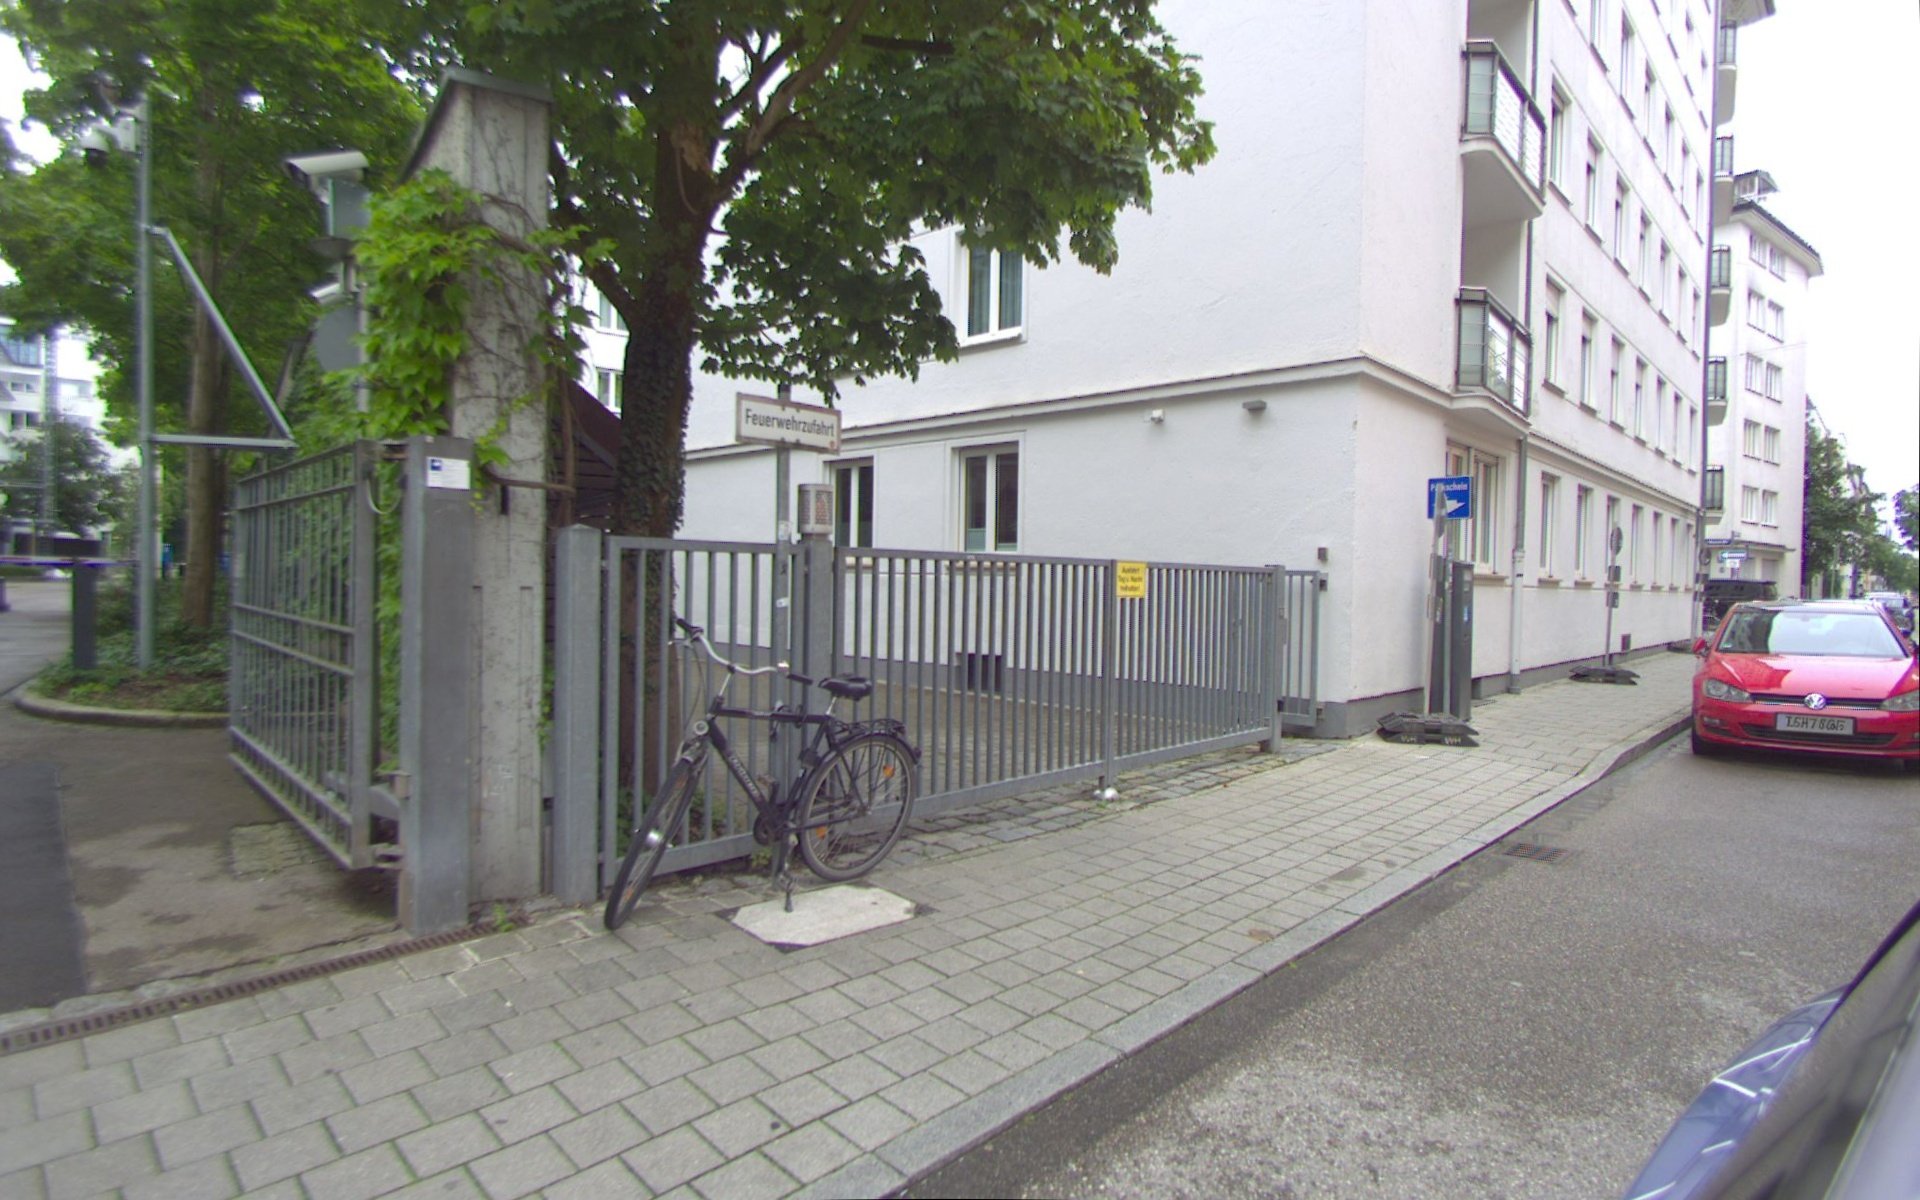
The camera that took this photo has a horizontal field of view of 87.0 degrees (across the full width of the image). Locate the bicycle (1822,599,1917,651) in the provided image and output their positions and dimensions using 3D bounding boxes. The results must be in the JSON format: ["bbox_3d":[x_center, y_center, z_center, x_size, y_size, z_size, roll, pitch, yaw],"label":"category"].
[{"bbox_3d":[22.182,0.603,24.722,1.695,1.175,0.309,2,2,44],"label":"bicycle"}]

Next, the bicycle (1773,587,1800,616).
[{"bbox_3d":[35.024,0.060,42.863,1.580,1.229,0.529,0,2,-39],"label":"bicycle"}]

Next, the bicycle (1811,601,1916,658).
[{"bbox_3d":[19.285,0.612,21.641,0.317,1.056,1.593,0,4,-37],"label":"bicycle"}]

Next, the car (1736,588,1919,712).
[{"bbox_3d":[12.201,0.572,13.993,1.795,1.457,4.312,0,0,45],"label":"car"}]

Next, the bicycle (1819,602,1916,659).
[{"bbox_3d":[19.101,0.619,21.322,0.324,1.056,1.440,0,4,-37],"label":"bicycle"}]

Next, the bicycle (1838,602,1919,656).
[{"bbox_3d":[20.135,0.623,22.031,0.353,1.056,1.443,0,4,-37],"label":"bicycle"}]

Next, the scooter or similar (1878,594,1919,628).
[{"bbox_3d":[34.953,0.398,37.517,0.339,1.229,1.339,0,2,-43],"label":"scooter or similar"}]

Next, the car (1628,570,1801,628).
[{"bbox_3d":[27.330,-0.078,36.797,1.898,1.914,4.681,1,1,-37],"label":"car"}]

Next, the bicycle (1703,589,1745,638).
[{"bbox_3d":[20.737,0.343,27.487,0.394,1.219,1.497,3,3,19],"label":"bicycle"}]

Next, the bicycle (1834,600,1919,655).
[{"bbox_3d":[21.225,0.622,23.264,1.695,1.175,0.372,2,2,44],"label":"bicycle"}]

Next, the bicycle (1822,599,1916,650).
[{"bbox_3d":[22.399,0.579,24.964,1.695,1.175,0.309,2,2,44],"label":"bicycle"}]

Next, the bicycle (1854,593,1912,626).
[{"bbox_3d":[36.262,0.345,39.766,0.520,1.229,1.606,0,2,-43],"label":"bicycle"}]

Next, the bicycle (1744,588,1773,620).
[{"bbox_3d":[31.876,0.159,40.409,1.580,1.229,0.529,0,2,-39],"label":"bicycle"}]

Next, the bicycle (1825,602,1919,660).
[{"bbox_3d":[18.962,0.635,20.814,0.354,1.056,1.704,0,4,-45],"label":"bicycle"}]

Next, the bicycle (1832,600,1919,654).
[{"bbox_3d":[21.467,0.616,23.577,1.695,1.175,0.372,2,2,44],"label":"bicycle"}]

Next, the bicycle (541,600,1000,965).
[{"bbox_3d":[-0.719,0.659,4.337,0.708,1.213,1.804,2,-1,44],"label":"bicycle"}]

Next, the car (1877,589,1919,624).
[{"bbox_3d":[40.267,0.244,43.091,1.650,1.416,3.937,2,2,44],"label":"car"}]

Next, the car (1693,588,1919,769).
[{"bbox_3d":[8.590,0.623,10.254,1.757,1.465,4.240,0,0,38],"label":"car"}]

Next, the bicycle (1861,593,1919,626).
[{"bbox_3d":[36.026,0.360,39.220,0.520,1.229,1.606,0,2,-43],"label":"bicycle"}]

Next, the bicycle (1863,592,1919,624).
[{"bbox_3d":[38.034,0.323,41.359,0.520,1.229,1.606,0,2,-43],"label":"bicycle"}]

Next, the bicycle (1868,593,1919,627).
[{"bbox_3d":[35.805,0.375,38.648,0.520,1.229,1.606,0,2,-43],"label":"bicycle"}]

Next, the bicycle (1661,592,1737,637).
[{"bbox_3d":[19.260,0.378,26.388,1.486,1.056,0.395,4,3,26],"label":"bicycle"}]
